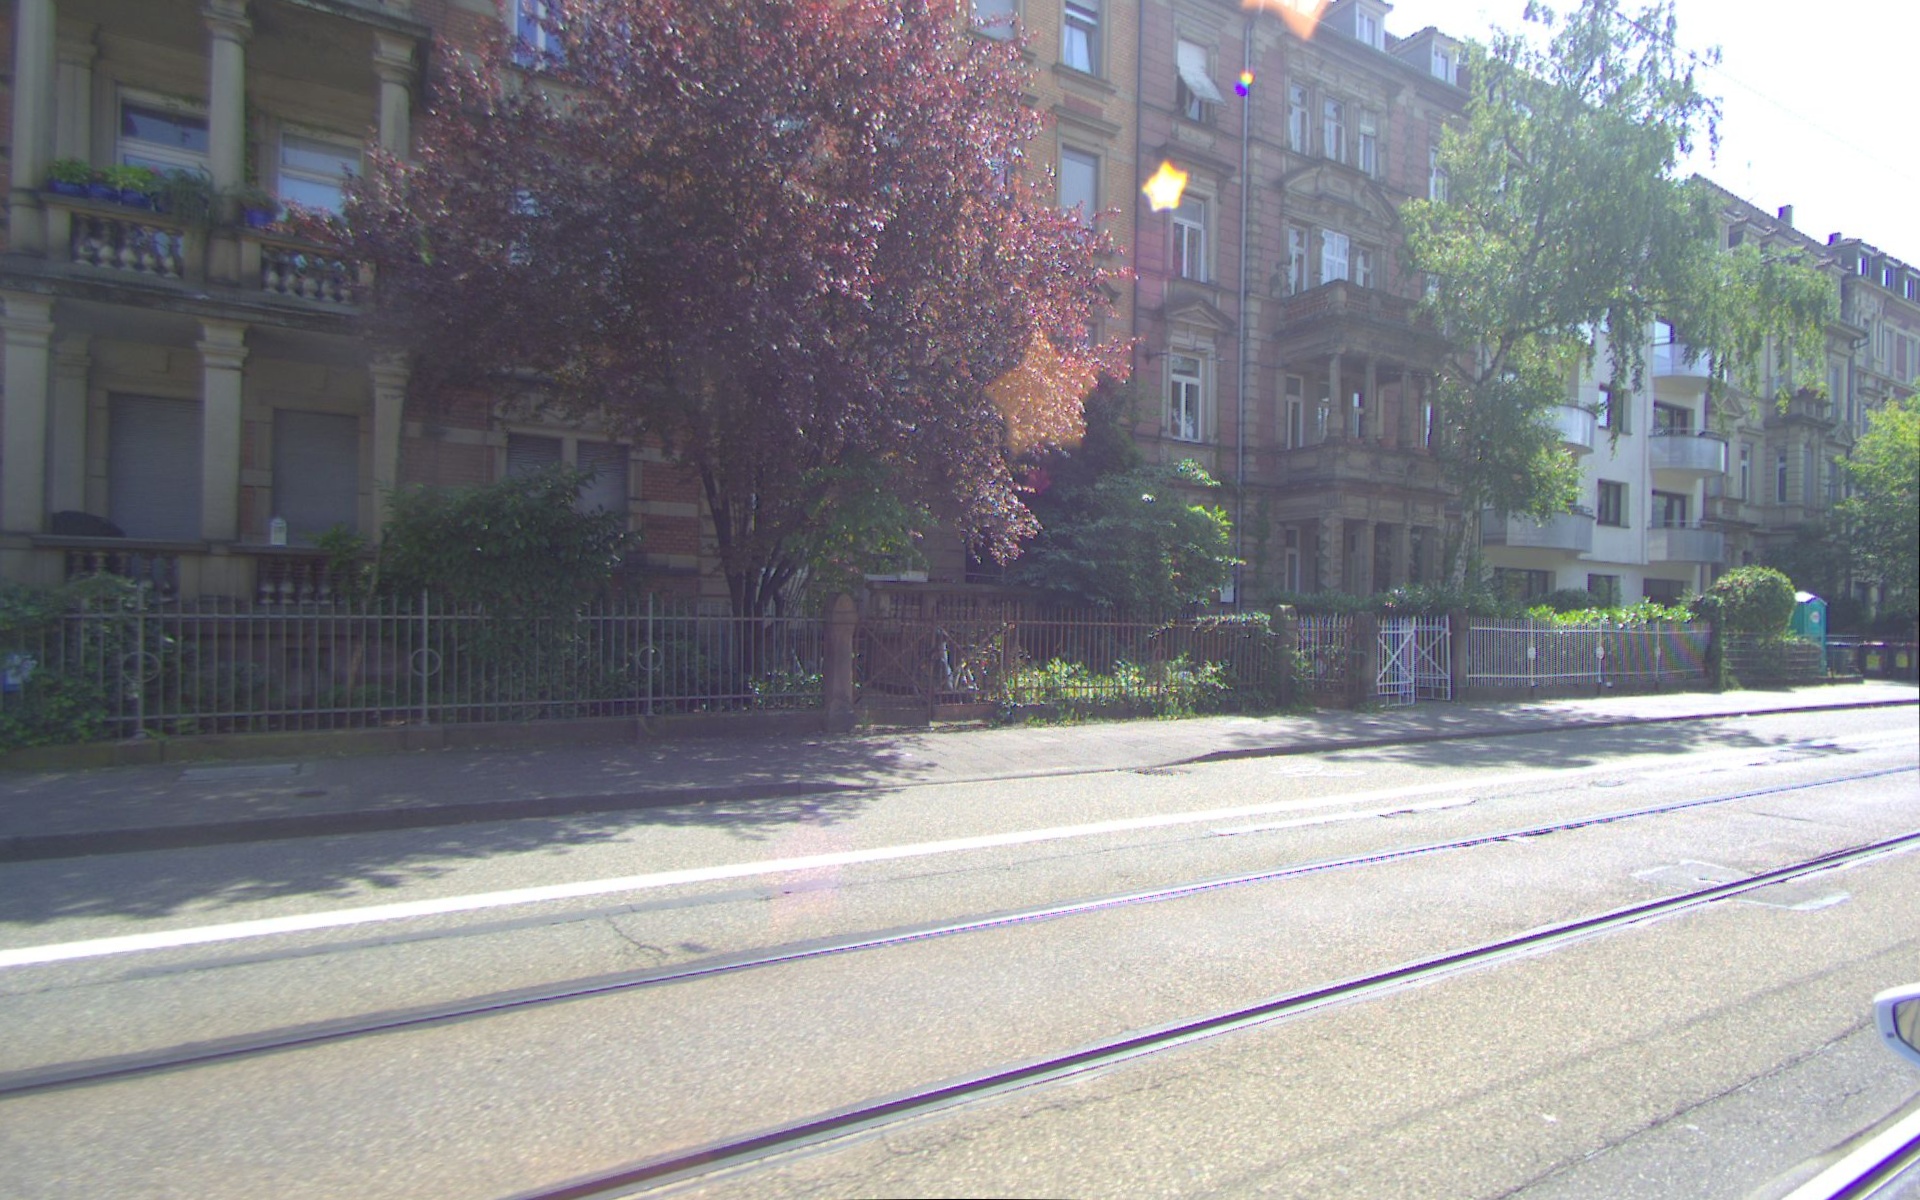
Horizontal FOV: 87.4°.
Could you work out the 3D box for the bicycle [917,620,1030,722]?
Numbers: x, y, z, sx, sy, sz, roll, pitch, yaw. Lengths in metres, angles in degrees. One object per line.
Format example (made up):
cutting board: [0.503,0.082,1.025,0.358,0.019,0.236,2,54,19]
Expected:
bicycle: [0.141,0.897,13.381,0.707,1.198,1.805,1,0,-28]

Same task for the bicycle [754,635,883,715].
bicycle: [-1.946,0.991,13.656,1.791,0.923,0.713,2,1,40]

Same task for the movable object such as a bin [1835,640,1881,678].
movable object such as a bin: [27.149,1.784,30.374,0.793,1.090,0.783,2,0,-28]

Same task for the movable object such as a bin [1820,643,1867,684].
movable object such as a bin: [24.609,1.759,27.983,0.746,1.090,0.782,1,1,-32]

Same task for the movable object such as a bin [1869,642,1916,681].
movable object such as a bin: [27.558,1.817,29.688,0.793,1.090,0.783,2,0,-28]
